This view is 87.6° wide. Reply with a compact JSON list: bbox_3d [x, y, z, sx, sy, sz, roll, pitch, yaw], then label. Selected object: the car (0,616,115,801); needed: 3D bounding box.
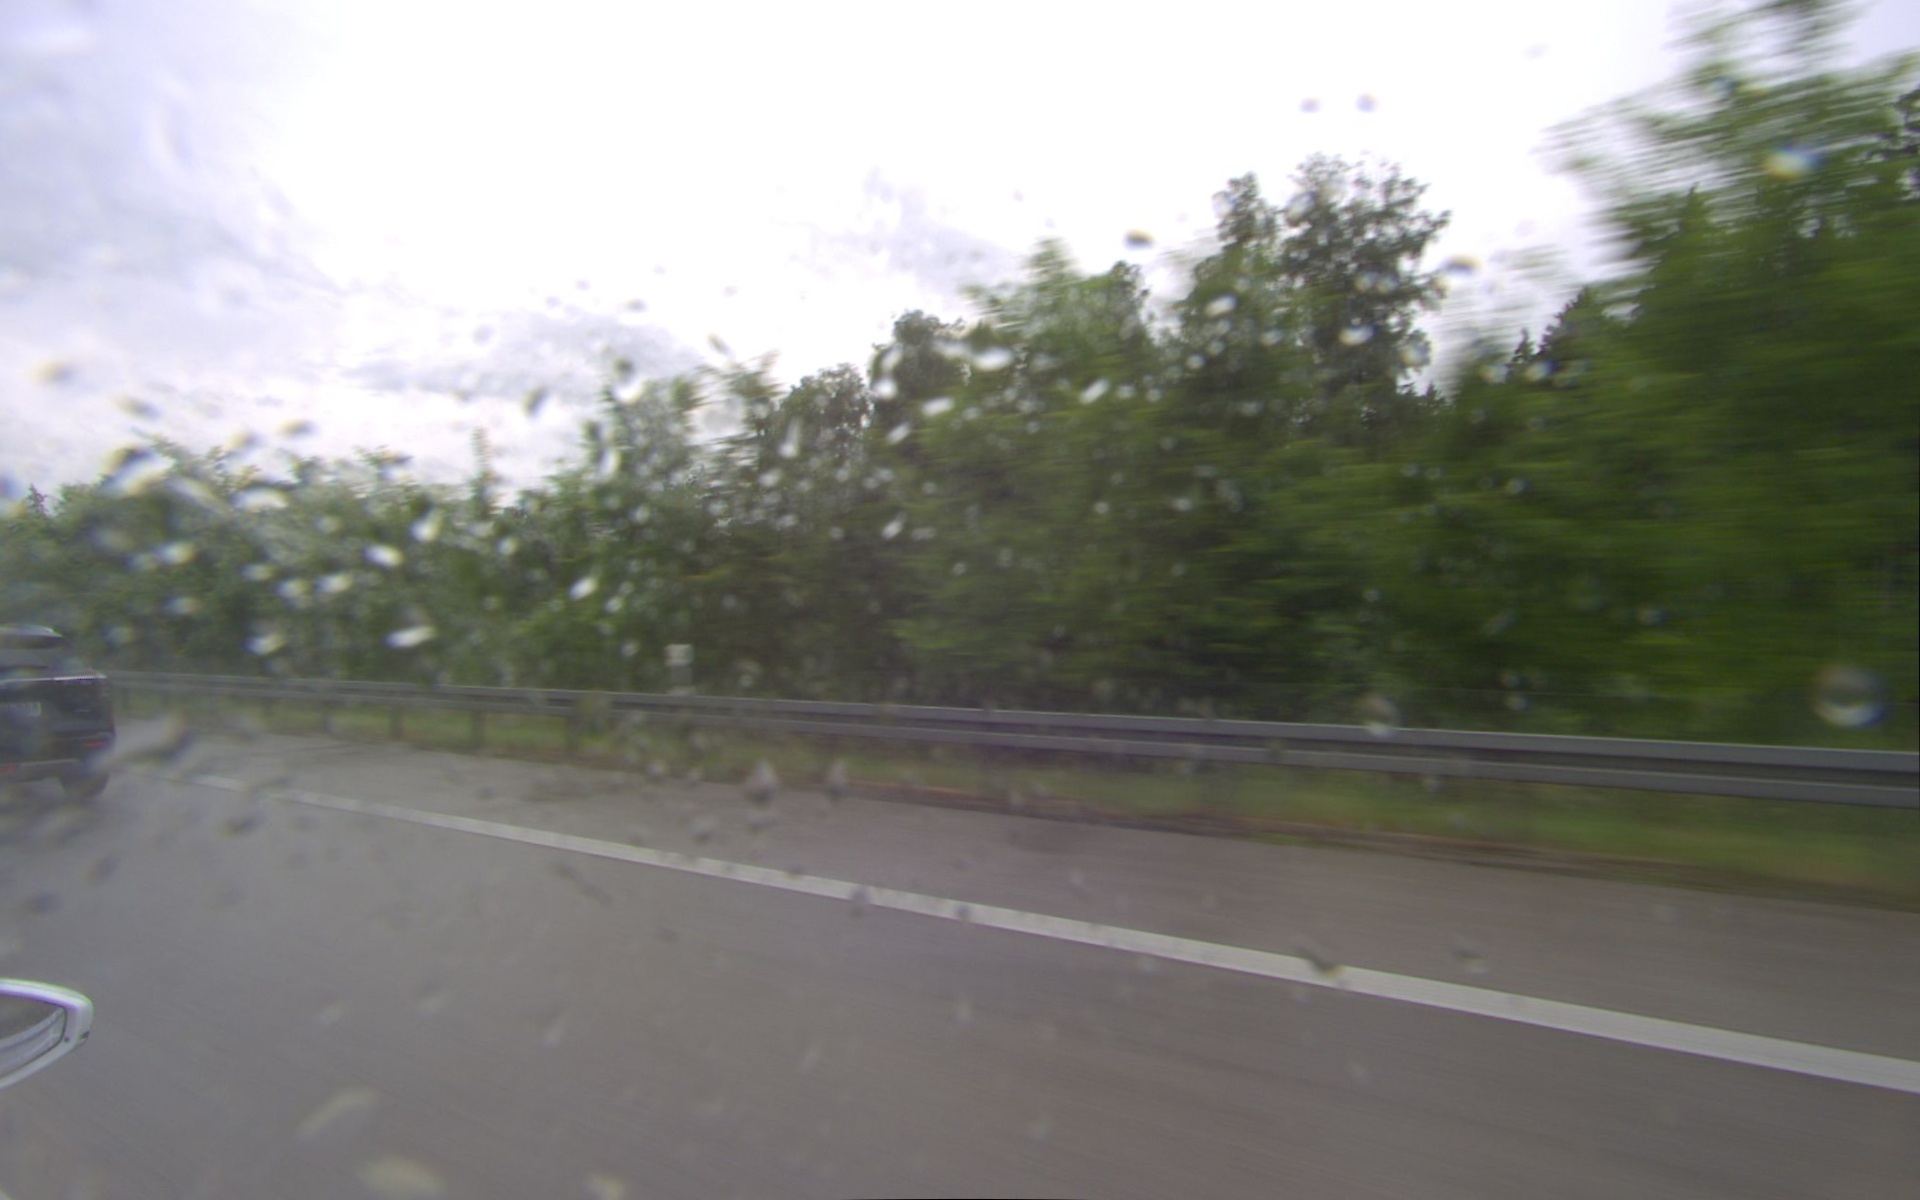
[{"bbox_3d":[-9.847,0.966,9.532,3.583,1.596,1.889,-1,-2,35],"label":"car"}]
